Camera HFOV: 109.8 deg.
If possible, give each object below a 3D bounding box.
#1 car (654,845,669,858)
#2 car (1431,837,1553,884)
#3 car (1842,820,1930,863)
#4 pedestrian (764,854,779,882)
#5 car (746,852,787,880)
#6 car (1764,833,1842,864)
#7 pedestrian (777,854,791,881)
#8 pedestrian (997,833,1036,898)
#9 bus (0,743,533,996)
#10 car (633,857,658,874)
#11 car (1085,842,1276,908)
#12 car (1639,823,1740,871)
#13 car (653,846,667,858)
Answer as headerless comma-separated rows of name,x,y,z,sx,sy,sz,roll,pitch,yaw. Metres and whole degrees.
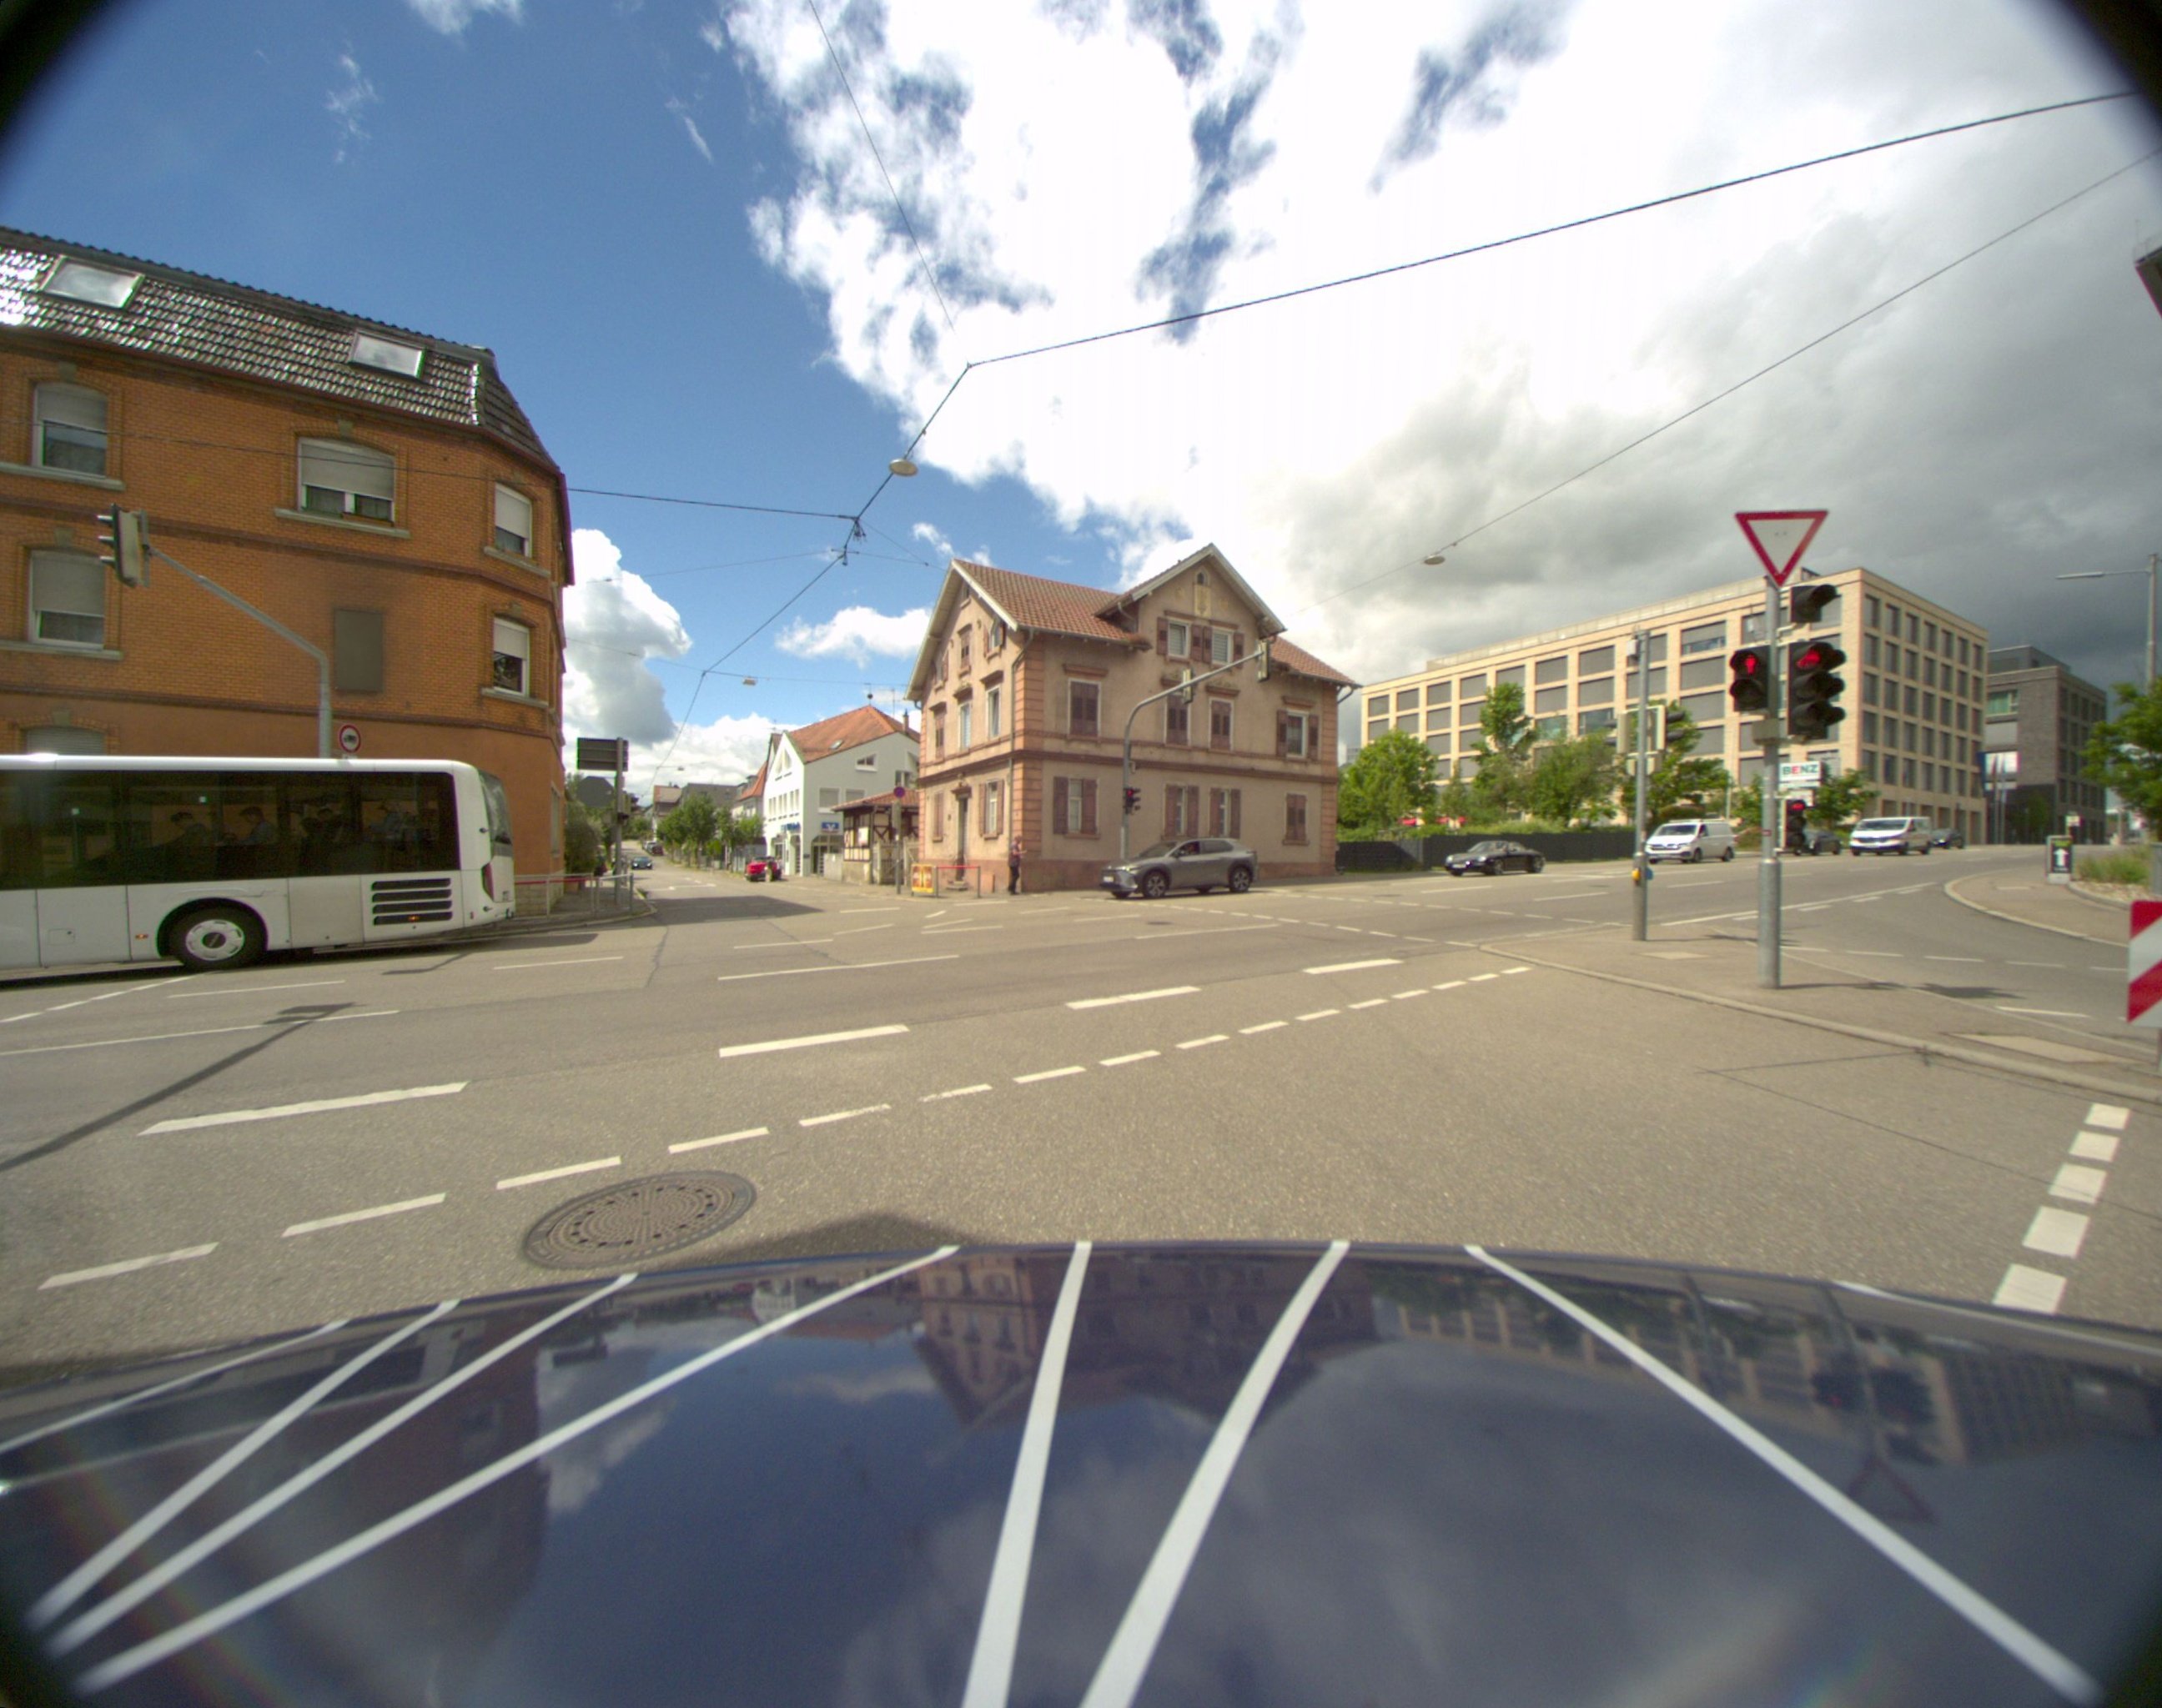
car,-73.922,-0.434,133.991,2.002,2.002,3.991,-3,1,-27
car,15.220,0.199,28.102,4.336,1.458,1.995,-3,1,-30
car,41.081,-0.644,38.753,4.997,1.981,1.995,-3,1,-30
pedestrian,-18.249,0.818,44.822,0.568,1.587,0.763,-3,1,-12
car,-19.457,0.705,46.936,2.002,1.532,3.991,-3,1,-27
car,39.928,-0.322,42.023,4.336,1.458,1.995,-3,1,-30
pedestrian,-17.626,0.803,45.069,0.613,1.587,0.723,-3,1,-18
pedestrian,-1.916,0.335,22.559,1.048,1.854,0.723,-3,1,-6
bus,-15.920,0.265,11.024,12.441,3.369,2.963,-3,1,-27
car,-46.076,1.199,80.315,2.003,1.652,3.990,-4,1,-32
car,2.843,0.516,21.233,5.106,1.569,1.995,-2,0,-30
car,28.508,-0.346,35.592,4.823,2.000,1.995,-3,1,-29
car,-77.300,-0.350,139.429,2.002,2.002,3.991,-3,1,-27
